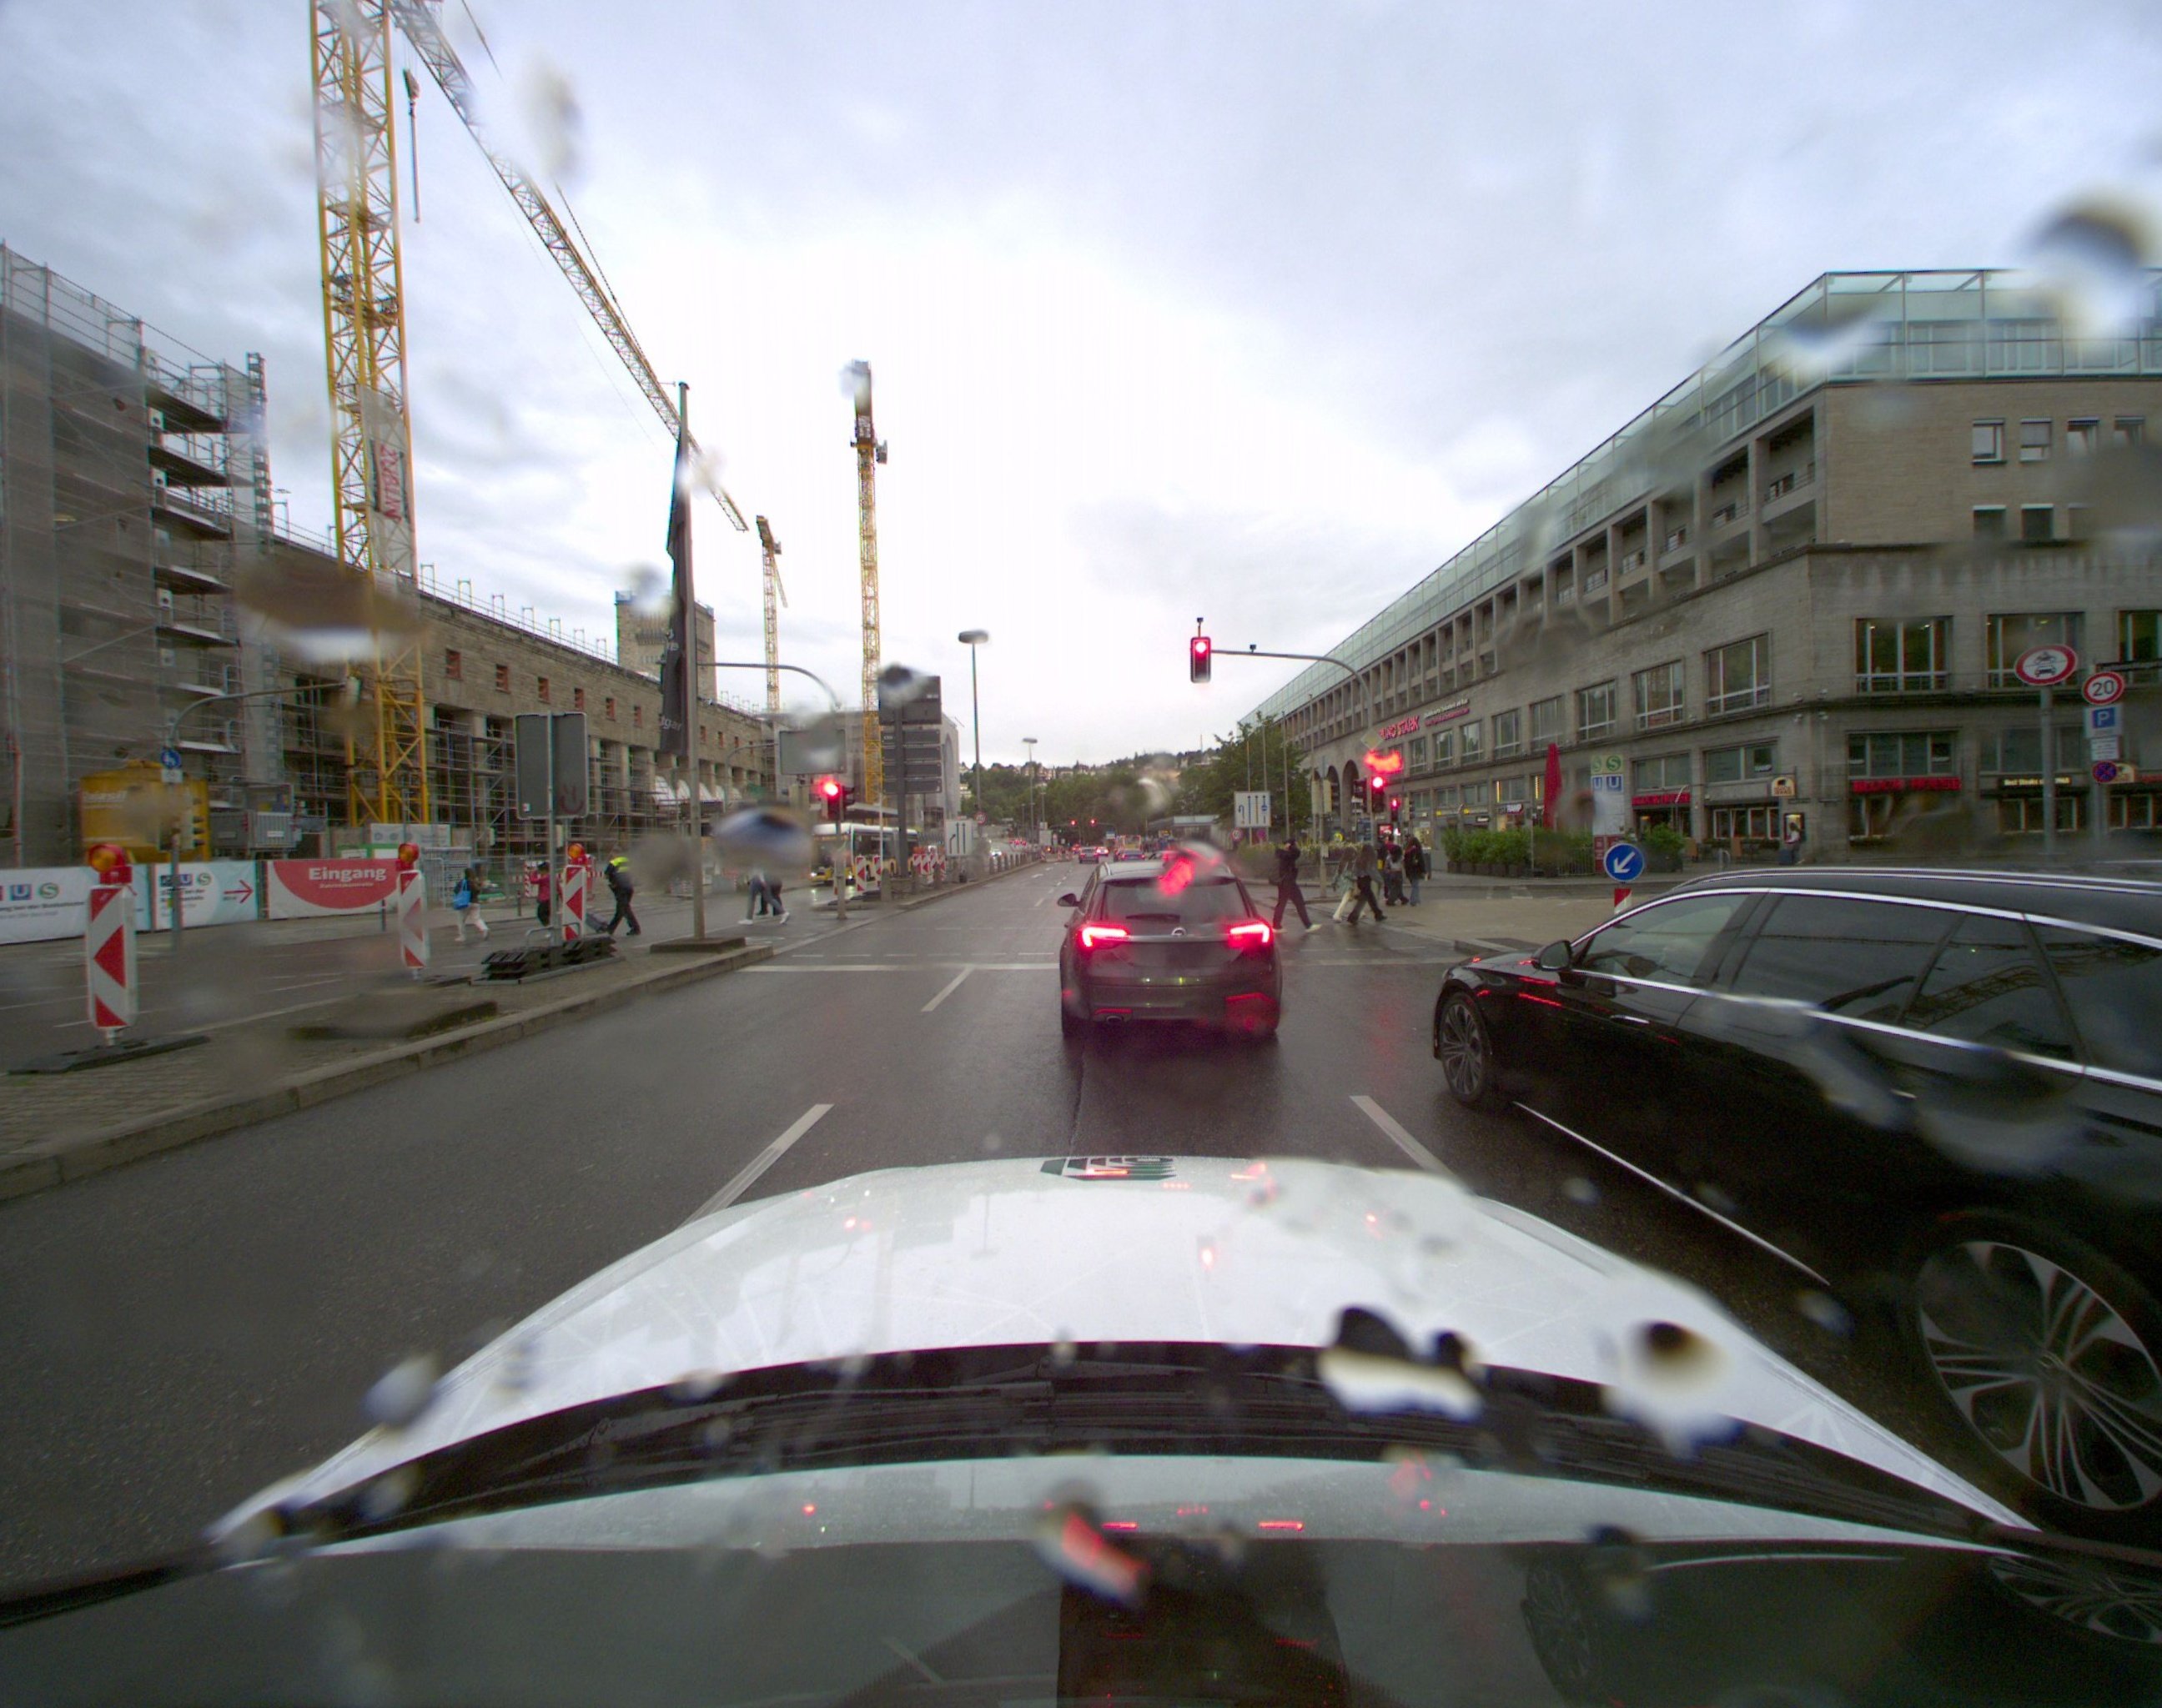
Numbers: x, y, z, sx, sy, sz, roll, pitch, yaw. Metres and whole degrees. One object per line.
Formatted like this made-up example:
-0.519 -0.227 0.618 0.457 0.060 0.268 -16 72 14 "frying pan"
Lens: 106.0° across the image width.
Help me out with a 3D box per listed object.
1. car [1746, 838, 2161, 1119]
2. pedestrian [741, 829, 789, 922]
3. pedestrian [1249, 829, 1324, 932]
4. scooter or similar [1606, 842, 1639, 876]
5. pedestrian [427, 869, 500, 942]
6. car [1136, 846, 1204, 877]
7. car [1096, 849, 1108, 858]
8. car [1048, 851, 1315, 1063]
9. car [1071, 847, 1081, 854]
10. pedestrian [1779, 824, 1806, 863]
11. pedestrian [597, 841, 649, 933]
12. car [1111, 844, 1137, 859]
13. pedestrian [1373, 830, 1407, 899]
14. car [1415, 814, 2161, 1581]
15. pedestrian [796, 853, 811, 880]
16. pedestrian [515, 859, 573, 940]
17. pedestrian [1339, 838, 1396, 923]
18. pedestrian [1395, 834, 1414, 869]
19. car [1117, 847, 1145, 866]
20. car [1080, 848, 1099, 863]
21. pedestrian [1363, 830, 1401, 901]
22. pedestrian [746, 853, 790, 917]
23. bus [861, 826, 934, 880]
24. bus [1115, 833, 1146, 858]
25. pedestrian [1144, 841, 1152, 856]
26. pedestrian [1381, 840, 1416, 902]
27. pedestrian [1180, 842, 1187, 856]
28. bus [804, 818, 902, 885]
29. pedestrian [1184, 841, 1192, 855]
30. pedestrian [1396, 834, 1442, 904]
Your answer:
6.655 0.656 4.794 1.868 1.486 4.527 0 0 1 "car"
-6.579 0.442 16.993 0.798 1.890 0.618 0 -1 -7 "pedestrian"
3.698 0.472 14.743 1.093 1.751 0.653 -3 -1 -1 "pedestrian"
19.369 0.189 29.124 0.290 1.189 1.014 0 -1 -17 "scooter or similar"
-13.659 1.117 18.041 0.912 1.563 0.899 0 -1 -2 "pedestrian"
4.078 0.337 37.701 1.850 1.398 3.645 0 0 -17 "car"
3.182 -0.094 123.812 1.839 1.398 3.565 0 0 2 "car"
0.757 0.736 7.741 1.868 1.486 4.001 0 0 1 "car"
-0.969 -0.639 150.172 1.752 1.398 3.565 0 0 2 "car"
27.920 -0.416 31.945 0.750 1.512 0.721 -1 -1 43 "pedestrian"
-9.368 0.666 16.672 0.576 1.836 0.820 0 -1 2 "pedestrian"
4.177 -0.250 79.512 1.751 1.398 4.391 0 0 -7 "car"
8.031 0.261 21.164 0.563 1.752 0.684 -1 -1 44 "pedestrian"
3.044 0.675 3.059 1.787 1.501 4.630 0 0 1 "car"
-19.637 0.901 57.630 0.659 1.855 0.799 -2 0 1 "pedestrian"
-11.844 0.991 17.982 0.797 1.717 0.619 -3 0 -2 "pedestrian"
5.637 0.506 16.060 0.791 1.626 0.899 0 -1 -2 "pedestrian"
19.036 -0.148 47.928 0.756 2.014 0.830 -1 -1 43 "pedestrian"
3.804 0.168 62.458 1.748 1.398 4.647 0 0 -1 "car"
0.784 0.135 77.739 1.747 1.398 4.538 0 0 0 "car"
7.406 0.274 20.066 0.753 1.717 0.466 0 -1 -2 "pedestrian"
-7.829 0.768 20.377 0.872 1.561 0.784 0 -1 -9 "pedestrian"
-13.066 -0.053 59.023 2.658 3.602 10.215 0 0 2 "bus"
7.213 -1.140 120.941 4.158 3.469 14.660 0 0 2 "bus"
11.486 -0.960 139.536 1.194 2.435 1.229 0 -1 3 "pedestrian"
7.639 0.414 19.586 0.677 1.474 0.366 0 -1 -3 "pedestrian"
11.985 -0.569 95.345 0.761 1.690 0.824 0 -1 -3 "pedestrian"
-13.387 -0.101 48.838 2.658 3.602 10.243 0 0 2 "bus"
12.380 -0.704 94.152 0.761 1.690 0.824 0 -1 -3 "pedestrian"
7.915 0.352 19.091 0.797 1.608 0.619 0 -1 -2 "pedestrian"
